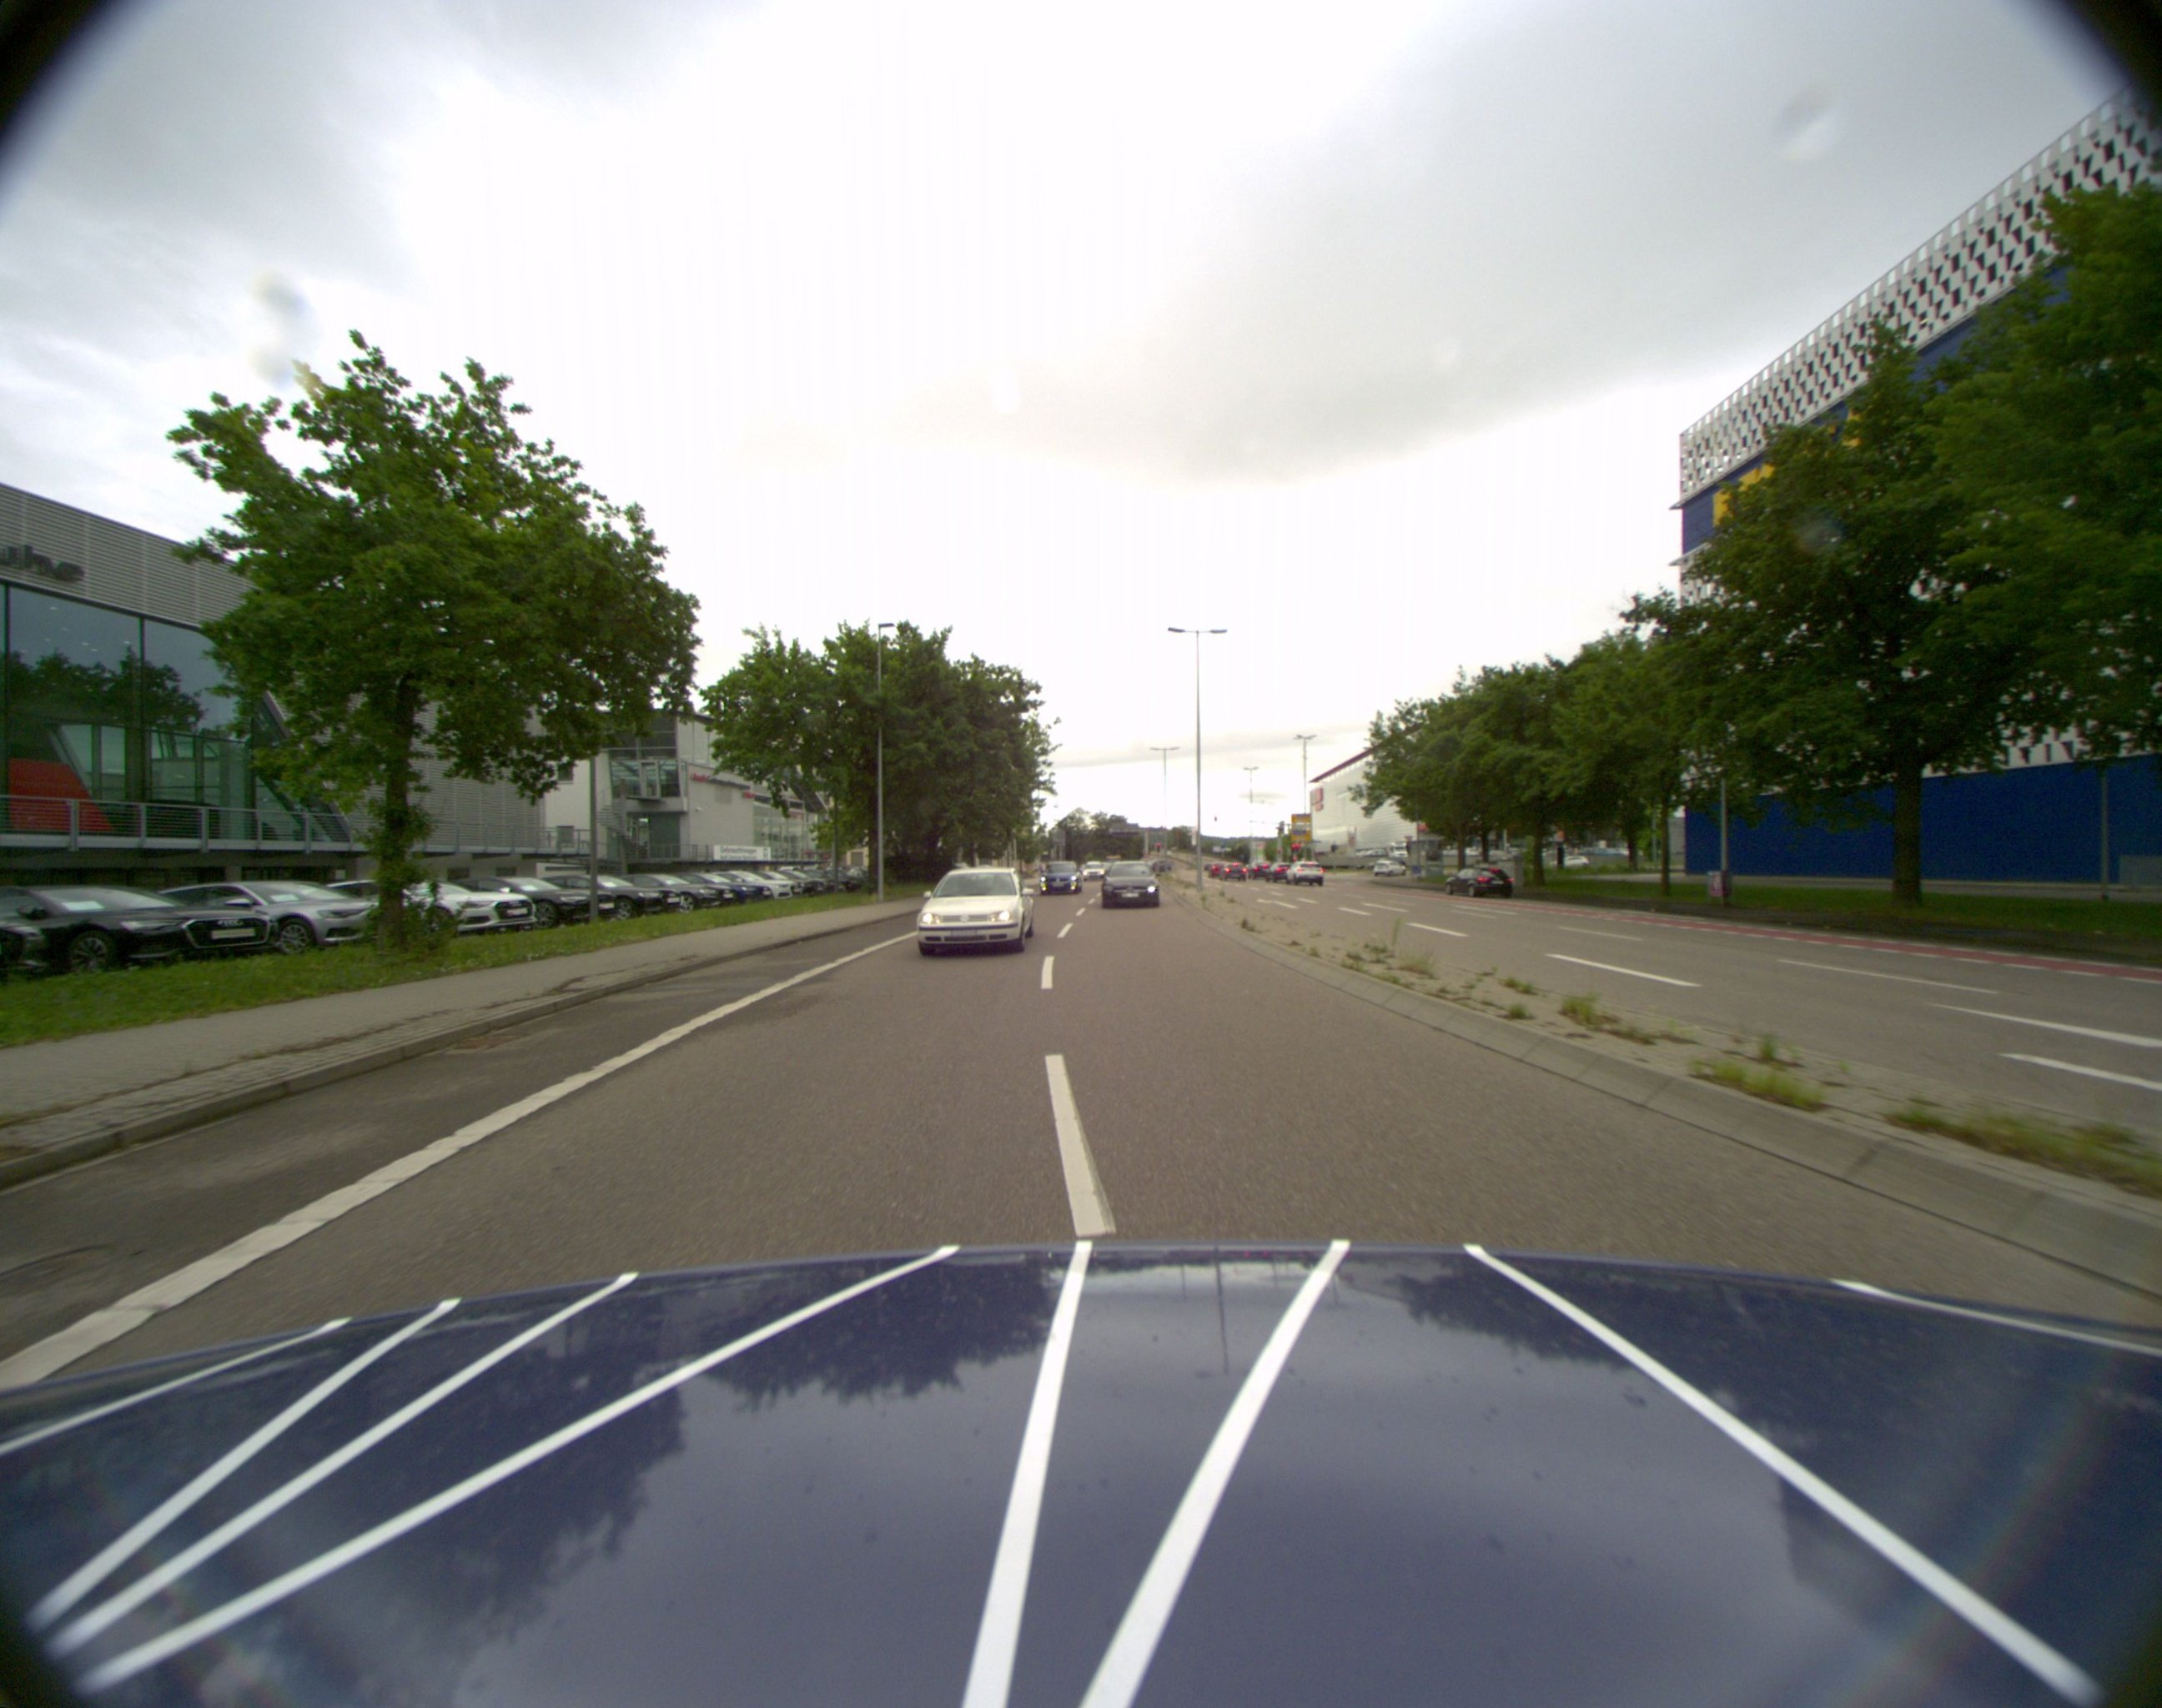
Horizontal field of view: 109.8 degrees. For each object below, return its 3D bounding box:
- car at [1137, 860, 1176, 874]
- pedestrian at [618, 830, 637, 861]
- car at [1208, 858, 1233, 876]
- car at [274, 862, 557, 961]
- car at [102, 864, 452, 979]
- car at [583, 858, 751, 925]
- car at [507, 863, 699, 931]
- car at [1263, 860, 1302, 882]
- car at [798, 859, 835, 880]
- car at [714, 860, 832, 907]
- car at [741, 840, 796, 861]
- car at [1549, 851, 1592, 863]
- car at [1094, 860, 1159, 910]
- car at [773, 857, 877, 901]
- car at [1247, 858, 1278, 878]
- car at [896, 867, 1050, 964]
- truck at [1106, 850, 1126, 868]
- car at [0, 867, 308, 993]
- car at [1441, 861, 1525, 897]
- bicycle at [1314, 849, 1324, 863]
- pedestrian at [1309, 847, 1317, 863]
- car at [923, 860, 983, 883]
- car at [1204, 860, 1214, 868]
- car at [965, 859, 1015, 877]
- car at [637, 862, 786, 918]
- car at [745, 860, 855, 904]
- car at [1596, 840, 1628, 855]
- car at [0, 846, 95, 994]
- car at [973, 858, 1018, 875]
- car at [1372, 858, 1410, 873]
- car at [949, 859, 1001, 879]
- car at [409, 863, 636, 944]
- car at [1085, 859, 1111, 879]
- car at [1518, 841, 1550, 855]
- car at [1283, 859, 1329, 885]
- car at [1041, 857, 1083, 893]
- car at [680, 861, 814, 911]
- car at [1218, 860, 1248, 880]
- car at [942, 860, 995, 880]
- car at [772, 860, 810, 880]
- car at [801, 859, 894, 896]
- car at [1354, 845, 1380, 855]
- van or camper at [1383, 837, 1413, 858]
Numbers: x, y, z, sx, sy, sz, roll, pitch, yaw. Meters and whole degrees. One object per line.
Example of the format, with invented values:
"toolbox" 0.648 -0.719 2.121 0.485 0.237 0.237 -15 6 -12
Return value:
"car" 8.975 1.515 90.856 4.221 1.564 1.801 -1 -2 -14
"pedestrian" -29.936 -0.549 50.168 0.746 2.001 0.801 -2 -2 3
"car" 12.871 1.188 70.240 1.739 1.479 4.079 0 1 4
"car" -14.107 1.201 16.275 4.403 1.511 2.002 -7 -2 5
"car" -14.320 1.150 13.708 4.303 1.495 2.030 -6 -1 6
"car" -13.123 1.189 24.218 4.185 1.652 2.002 -6 -2 6
"car" -13.363 1.200 21.407 4.185 1.447 1.935 -6 -2 6
"car" 15.303 1.252 57.909 1.884 1.535 4.599 1 1 3
"car" -29.102 1.644 83.745 1.998 2.002 4.909 -2 1 4
"car" -12.759 1.219 31.644 4.073 1.476 1.820 -6 -2 4
"car" -27.224 -0.255 66.225 3.996 1.651 1.826 -2 -2 3
"car" 61.647 0.371 95.723 4.213 1.407 1.804 -2 -2 8
"car" 1.458 0.996 24.750 1.858 1.425 4.198 -3 -2 3
"car" -12.483 1.217 37.214 4.246 1.592 1.877 -7 -2 4
"car" 16.065 1.207 67.501 1.884 1.627 4.334 2 0 3
"car" -1.770 0.995 13.773 1.836 1.469 4.007 -2 -1 5
"truck" 5.852 0.860 126.504 2.818 2.622 6.680 -2 -2 6
"car" -14.444 1.152 11.230 4.185 1.437 1.961 -7 -2 6
"car" 19.184 1.165 36.497 1.922 1.493 4.252 2 1 3
"bicycle" 25.257 0.205 80.539 0.595 1.388 1.937 1 1 31
"pedestrian" 24.653 0.085 80.729 0.639 1.617 0.693 0 2 31
"car" -9.996 1.352 59.511 4.186 1.477 1.909 -4 0 4
"car" 26.134 2.034 155.193 1.693 1.519 3.930 -2 -2 7
"car" -9.033 1.356 75.498 4.512 1.477 2.070 -4 1 3
"car" -12.904 1.253 26.677 4.191 1.476 1.978 -6 -2 5
"car" -12.770 1.286 34.652 4.217 1.476 1.827 -7 -2 4
"car" 75.430 -0.908 108.046 1.998 2.001 4.003 -2 -2 6
"car" -14.727 1.001 8.709 4.560 1.691 2.002 -7 -2 6
"car" -8.809 1.276 78.380 4.224 1.477 1.875 -3 1 5
"car" 30.773 1.133 75.413 4.341 1.453 1.858 2 -1 -43
"car" -9.442 1.341 67.607 4.193 1.477 1.853 -4 0 5
"car" -13.741 1.198 18.865 4.185 1.460 2.002 -7 -2 6
"car" 1.481 1.309 64.134 1.798 1.615 4.378 -2 -2 6
"car" 73.669 -0.973 123.568 3.995 2.001 2.002 -2 -2 5
"car" 15.260 1.195 51.799 1.998 1.585 4.579 3 -1 4
"car" -0.978 1.042 36.941 1.847 1.612 4.332 -2 -2 -3
"car" -12.781 1.232 29.235 4.205 1.476 1.960 -6 -2 4
"car" 12.211 1.275 61.122 1.861 1.453 4.334 1 -1 5
"car" -9.558 1.348 64.929 4.040 1.477 1.878 -4 0 5
"car" -31.933 1.733 83.916 1.998 2.002 4.909 -2 1 4
"car" -12.209 1.229 39.847 4.132 1.385 1.872 -7 -2 4
"car" 54.396 -0.790 144.714 4.254 1.665 1.779 -2 -2 8
"van or camper" 53.019 -1.094 127.304 2.711 3.116 7.243 -2 -2 8
